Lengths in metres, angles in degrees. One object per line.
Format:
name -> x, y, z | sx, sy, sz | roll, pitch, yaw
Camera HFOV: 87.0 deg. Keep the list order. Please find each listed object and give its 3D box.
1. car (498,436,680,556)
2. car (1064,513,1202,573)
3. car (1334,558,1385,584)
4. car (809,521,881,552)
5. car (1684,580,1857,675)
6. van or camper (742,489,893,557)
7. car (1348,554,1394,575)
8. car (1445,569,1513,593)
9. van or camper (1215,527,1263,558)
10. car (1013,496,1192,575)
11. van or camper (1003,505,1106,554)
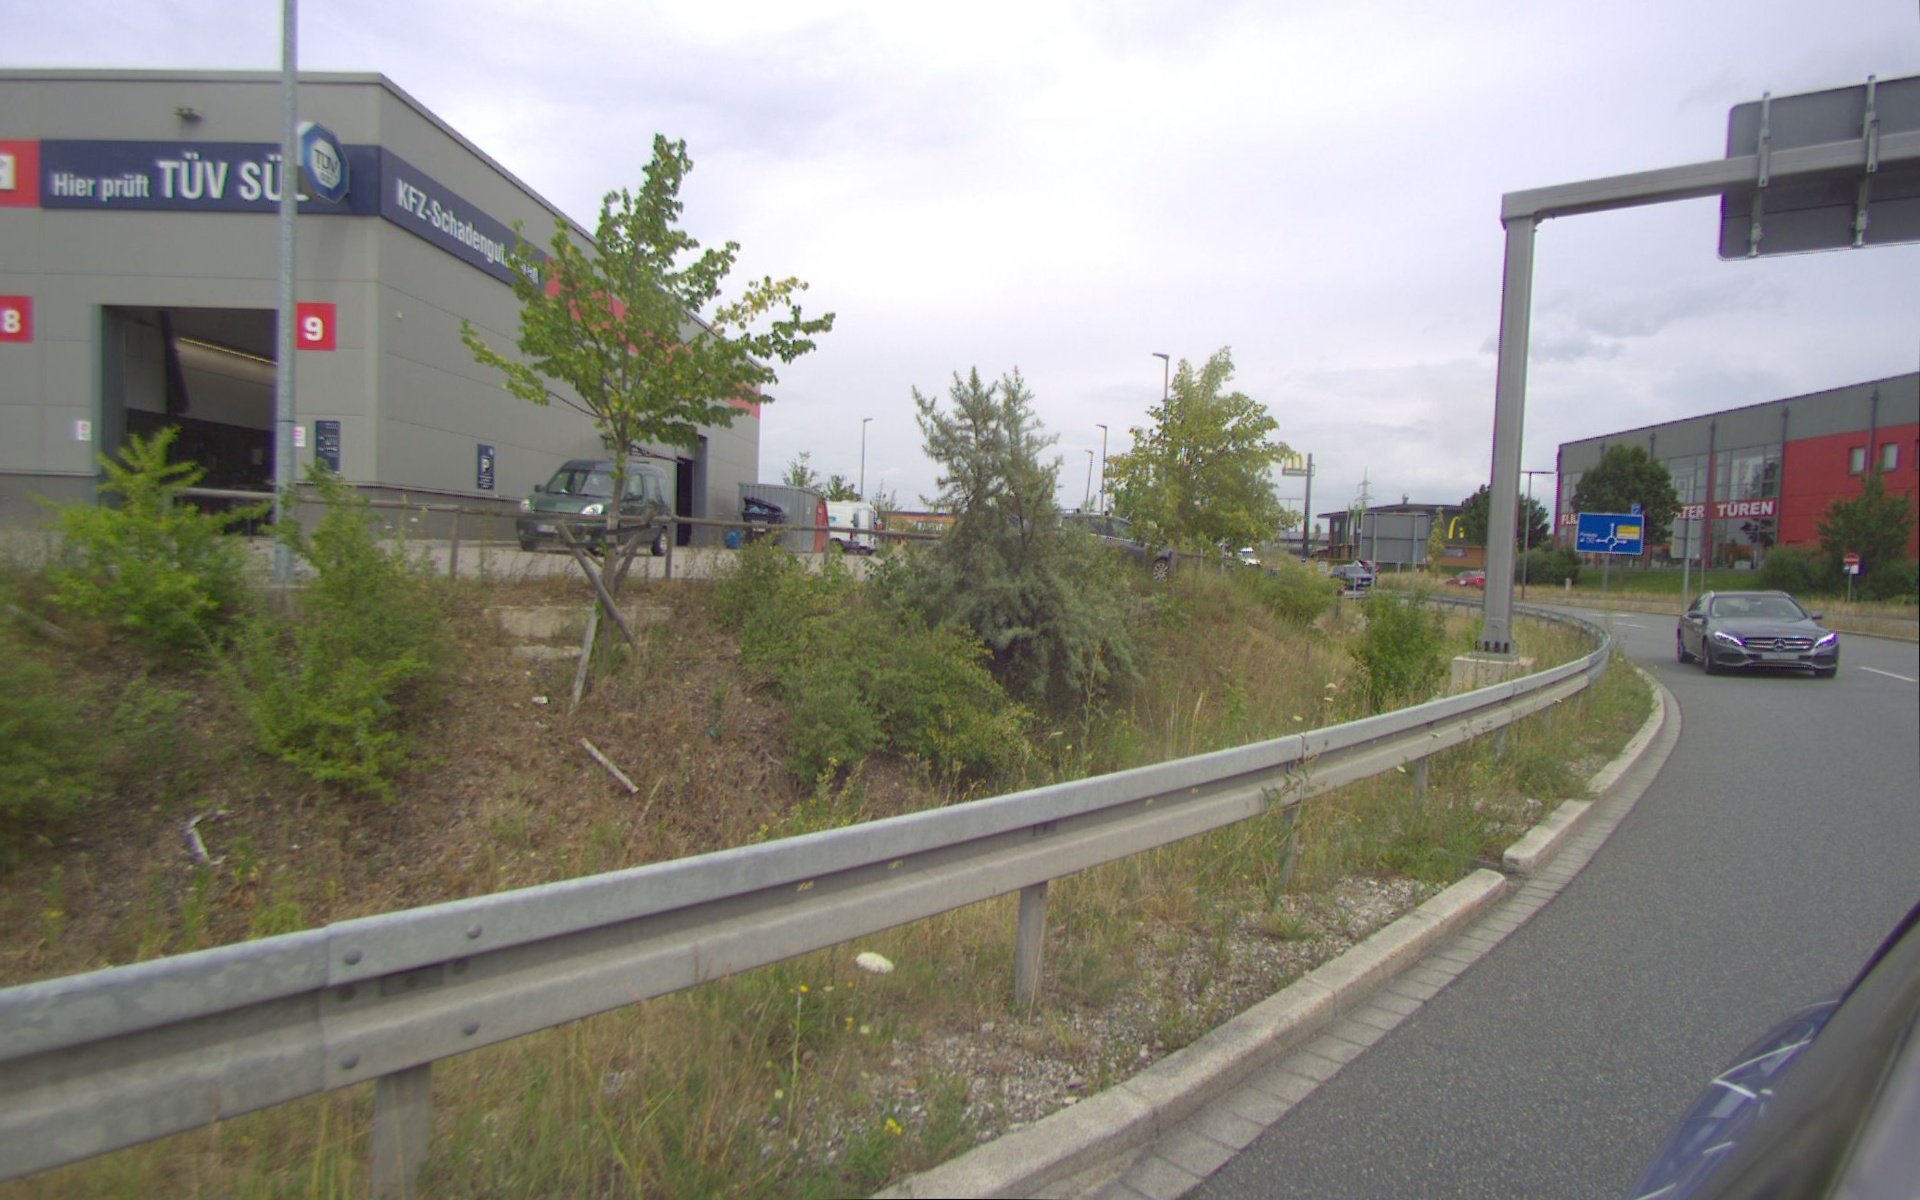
car -> -6.618, -1.794, 18.522 | 1.674, 1.833, 3.970 | 4, 3, 2
car -> 5.059, -1.658, 29.647 | 3.656, 1.673, 1.522 | -2, 1, -13
car -> 27.846, -2.034, 70.679 | 1.808, 1.740, 4.003 | -1, 2, -2
car -> -6.909, -3.816, 61.055 | 3.994, 1.741, 1.776 | 2, 2, 8
car -> 14.692, 0.406, 18.594 | 1.892, 1.516, 4.292 | 0, 1, 31
van or camper -> -7.578, -4.086, 54.258 | 7.597, 3.217, 2.492 | 2, 2, 3
car -> 35.518, -3.072, 87.602 | 1.878, 1.646, 4.640 | -2, 2, -2
car -> 34.442, -1.279, 67.308 | 1.762, 1.465, 4.976 | -2, 2, -3
van or camper -> 25.202, -5.205, 91.813 | 2.288, 2.682, 6.053 | 0, 3, -4
car -> 3.554, -1.578, 25.111 | 4.085, 1.804, 1.807 | -2, 2, -27
van or camper -> 4.262, -3.116, 45.327 | 4.591, 2.022, 1.813 | -1, 2, -38
